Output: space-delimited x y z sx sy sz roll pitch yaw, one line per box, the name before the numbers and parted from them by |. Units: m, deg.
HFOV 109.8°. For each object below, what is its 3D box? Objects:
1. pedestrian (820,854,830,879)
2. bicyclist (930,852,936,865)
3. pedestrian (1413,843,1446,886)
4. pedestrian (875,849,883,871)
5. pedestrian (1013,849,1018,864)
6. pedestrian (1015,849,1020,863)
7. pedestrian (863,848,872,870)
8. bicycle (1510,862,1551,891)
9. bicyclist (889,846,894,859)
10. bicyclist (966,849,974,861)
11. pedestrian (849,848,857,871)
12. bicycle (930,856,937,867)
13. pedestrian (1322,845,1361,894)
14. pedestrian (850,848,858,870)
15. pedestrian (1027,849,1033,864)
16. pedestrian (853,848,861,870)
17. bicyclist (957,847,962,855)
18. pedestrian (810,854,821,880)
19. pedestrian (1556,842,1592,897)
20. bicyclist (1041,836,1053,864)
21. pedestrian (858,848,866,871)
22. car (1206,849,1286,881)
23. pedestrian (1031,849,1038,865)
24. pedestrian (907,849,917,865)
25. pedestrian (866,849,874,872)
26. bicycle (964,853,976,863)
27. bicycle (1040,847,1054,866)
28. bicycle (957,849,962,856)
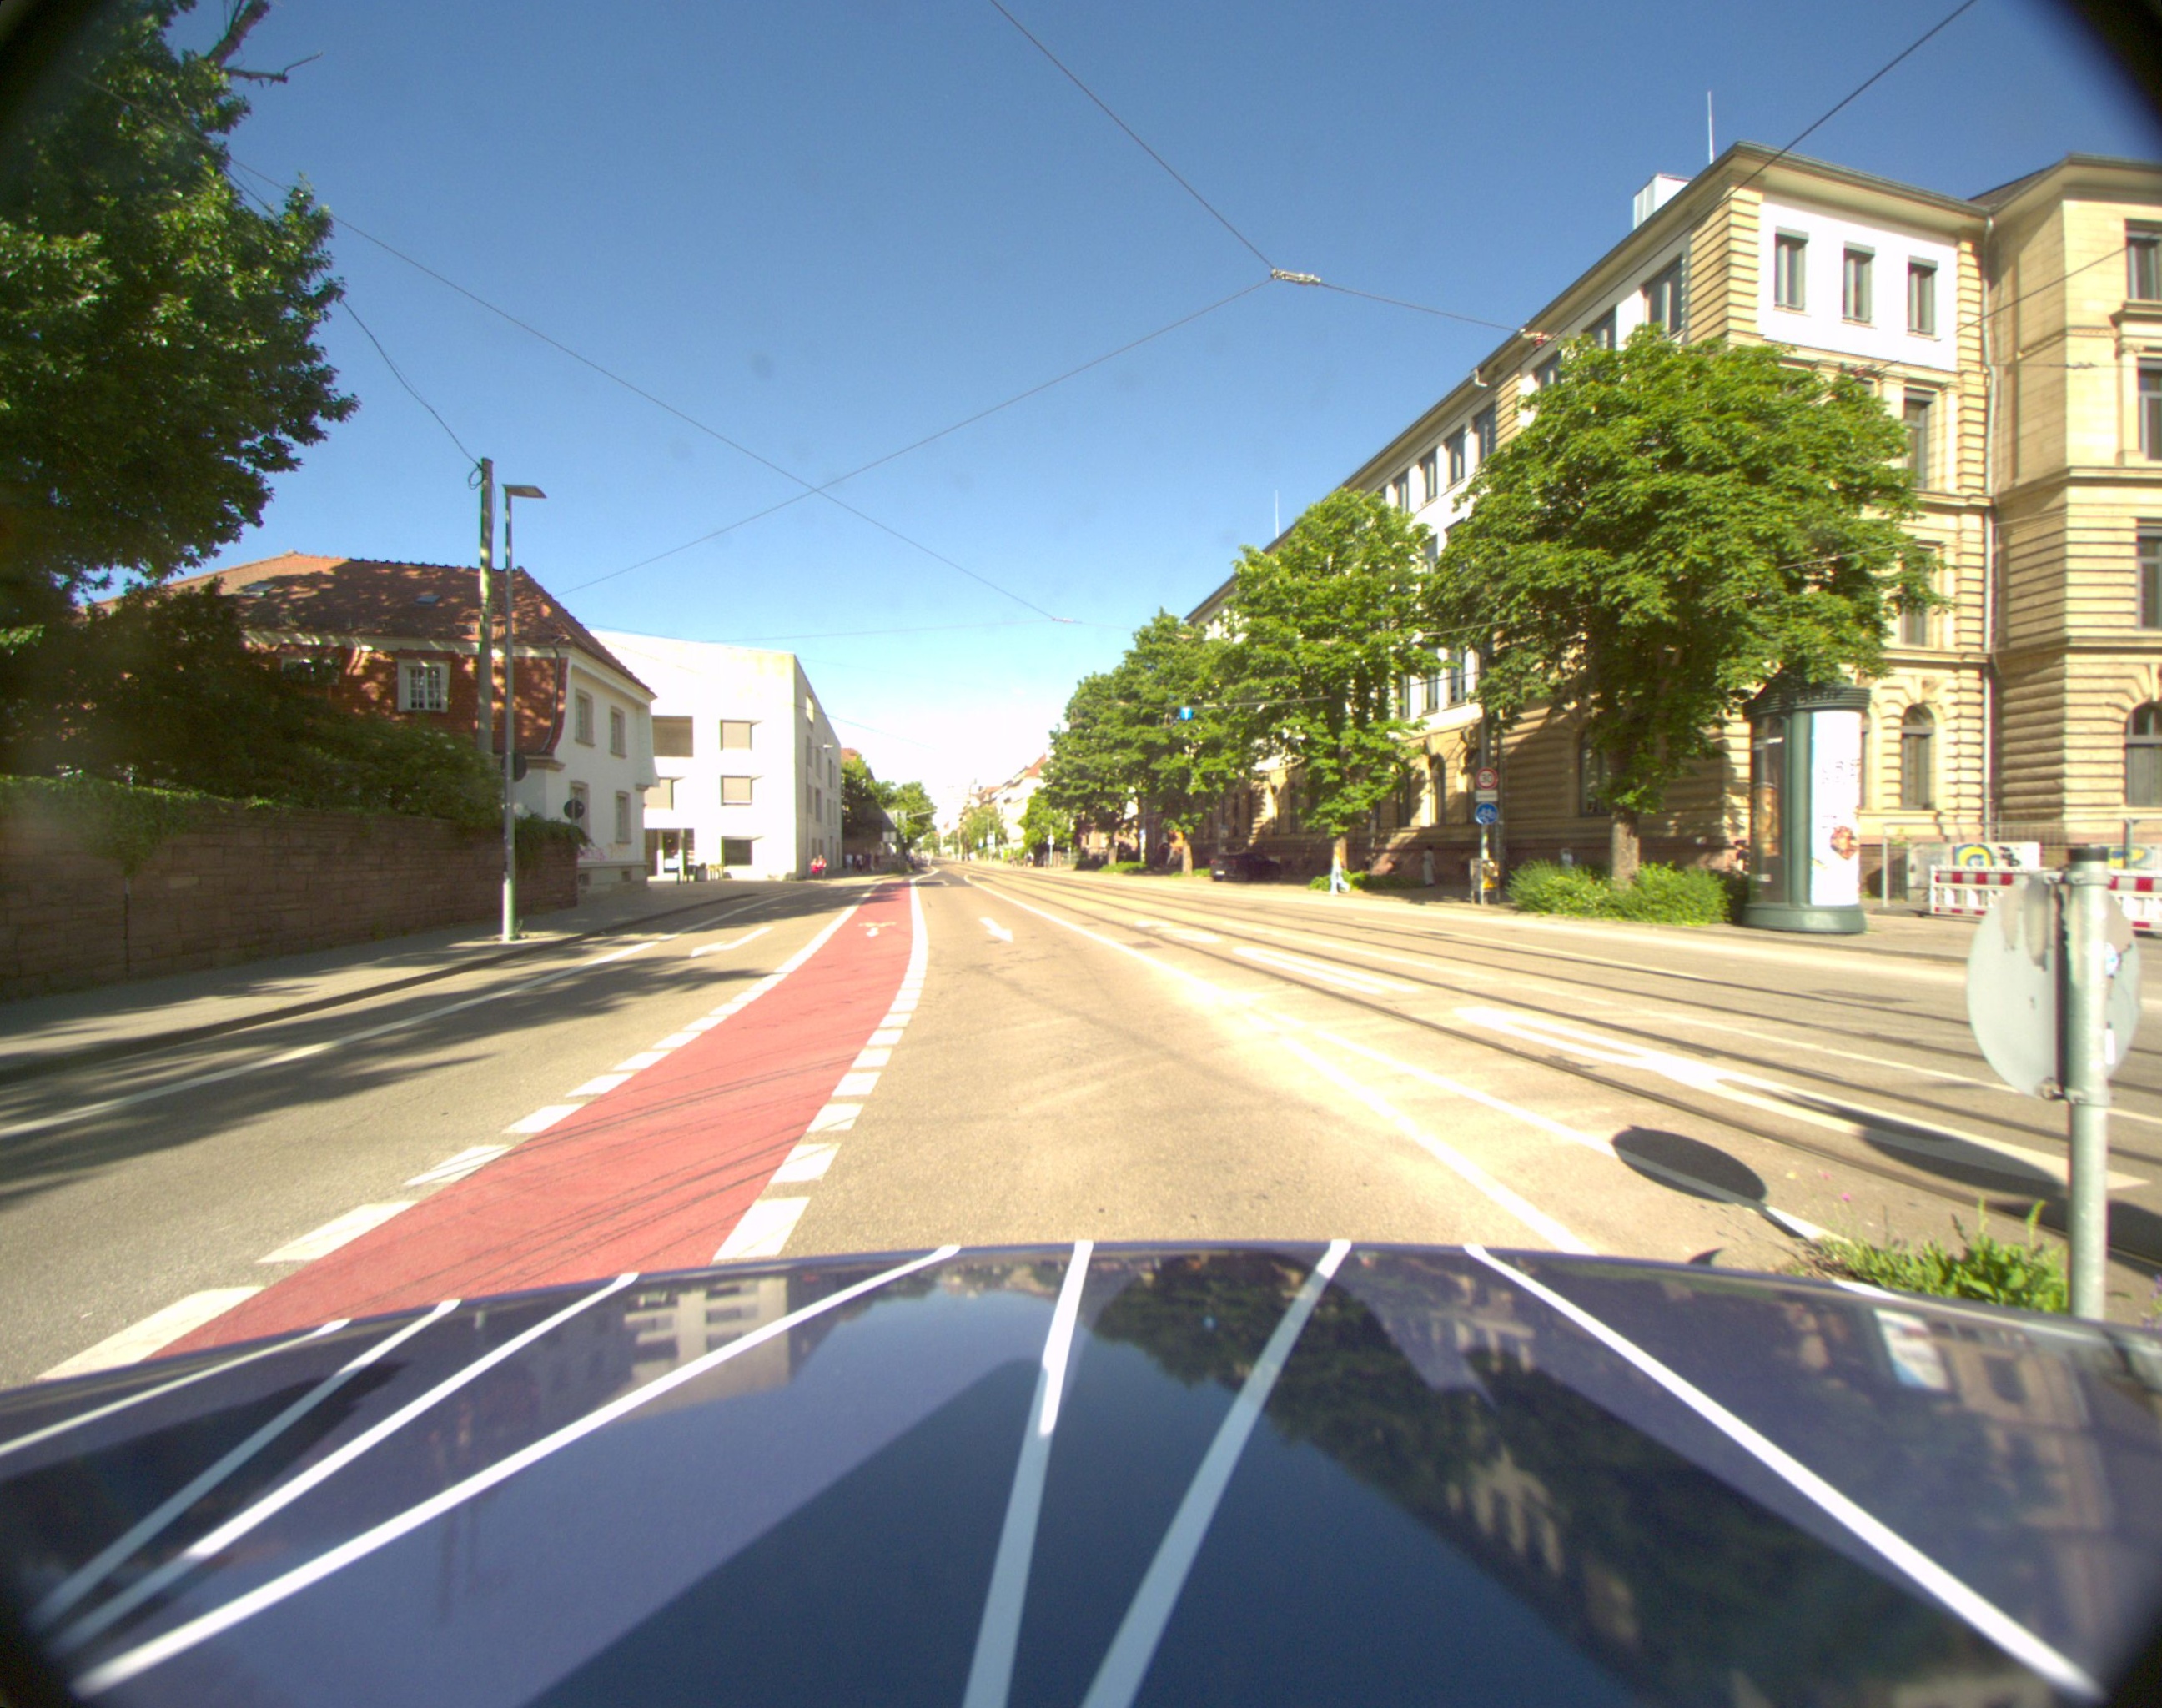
pedestrian | -15.831 0.774 46.963 0.535 1.557 0.519 -1 1 -13
bicyclist | -16.663 0.480 85.557 0.665 1.453 0.622 -2 2 -8
pedestrian | 13.378 0.402 29.195 0.858 1.558 0.672 -4 2 -2
pedestrian | -16.038 0.497 60.232 0.588 1.717 0.519 -1 1 -13
pedestrian | -8.249 0.334 95.290 0.579 1.845 0.684 0 1 -11
pedestrian | -8.315 0.225 99.576 0.579 1.845 0.684 0 1 -11
pedestrian | -17.434 0.435 62.068 0.588 1.795 0.582 -1 1 -13
bicycle | 15.270 0.747 25.822 0.398 0.898 1.359 -2 2 -10
bicyclist | -35.040 -0.287 140.513 0.813 2.194 0.983 -2 2 -10
bicyclist | -19.762 0.169 135.004 1.005 2.255 1.018 -3 2 -29
pedestrian | -17.954 0.412 59.870 0.588 1.795 0.545 -1 1 -13
bicycle | -16.658 0.794 85.586 0.665 1.146 1.670 -2 2 -8
pedestrian | 9.214 0.569 26.911 0.773 1.658 1.032 2 -4 -25
pedestrian | -18.432 0.425 61.626 0.588 1.795 0.582 -1 1 -13
pedestrian | -6.245 0.344 92.998 0.579 1.845 0.653 0 1 -11
pedestrian | -18.656 0.386 63.338 0.588 1.795 0.545 -1 1 -13
bicyclist | -28.109 -0.642 175.620 1.004 1.712 0.983 -2 2 -12
pedestrian | -16.445 0.788 47.039 0.535 1.557 0.519 -1 1 -13
pedestrian | 14.383 0.441 22.169 0.579 1.553 0.653 0 1 -12
bicyclist | -3.612 -0.449 80.258 1.003 2.959 1.474 -1 2 4
pedestrian | -17.263 0.447 59.966 0.588 1.795 0.545 -1 1 -13
car | 8.597 0.536 39.482 4.118 1.565 1.916 -1 1 -39
pedestrian | -5.476 0.311 88.857 0.729 1.845 0.653 0 1 -9
pedestrian | -18.739 0.298 84.277 0.933 1.728 0.677 -1 1 -40
pedestrian | -16.611 0.501 59.908 0.588 1.795 0.519 -1 1 -13
bicycle | -19.754 0.710 135.068 1.005 1.672 2.977 -3 2 -29
bicycle | -3.602 0.270 80.004 1.003 1.876 3.894 -1 2 4
bicycle | -28.098 -0.345 175.637 1.004 1.672 2.981 -2 2 -12
